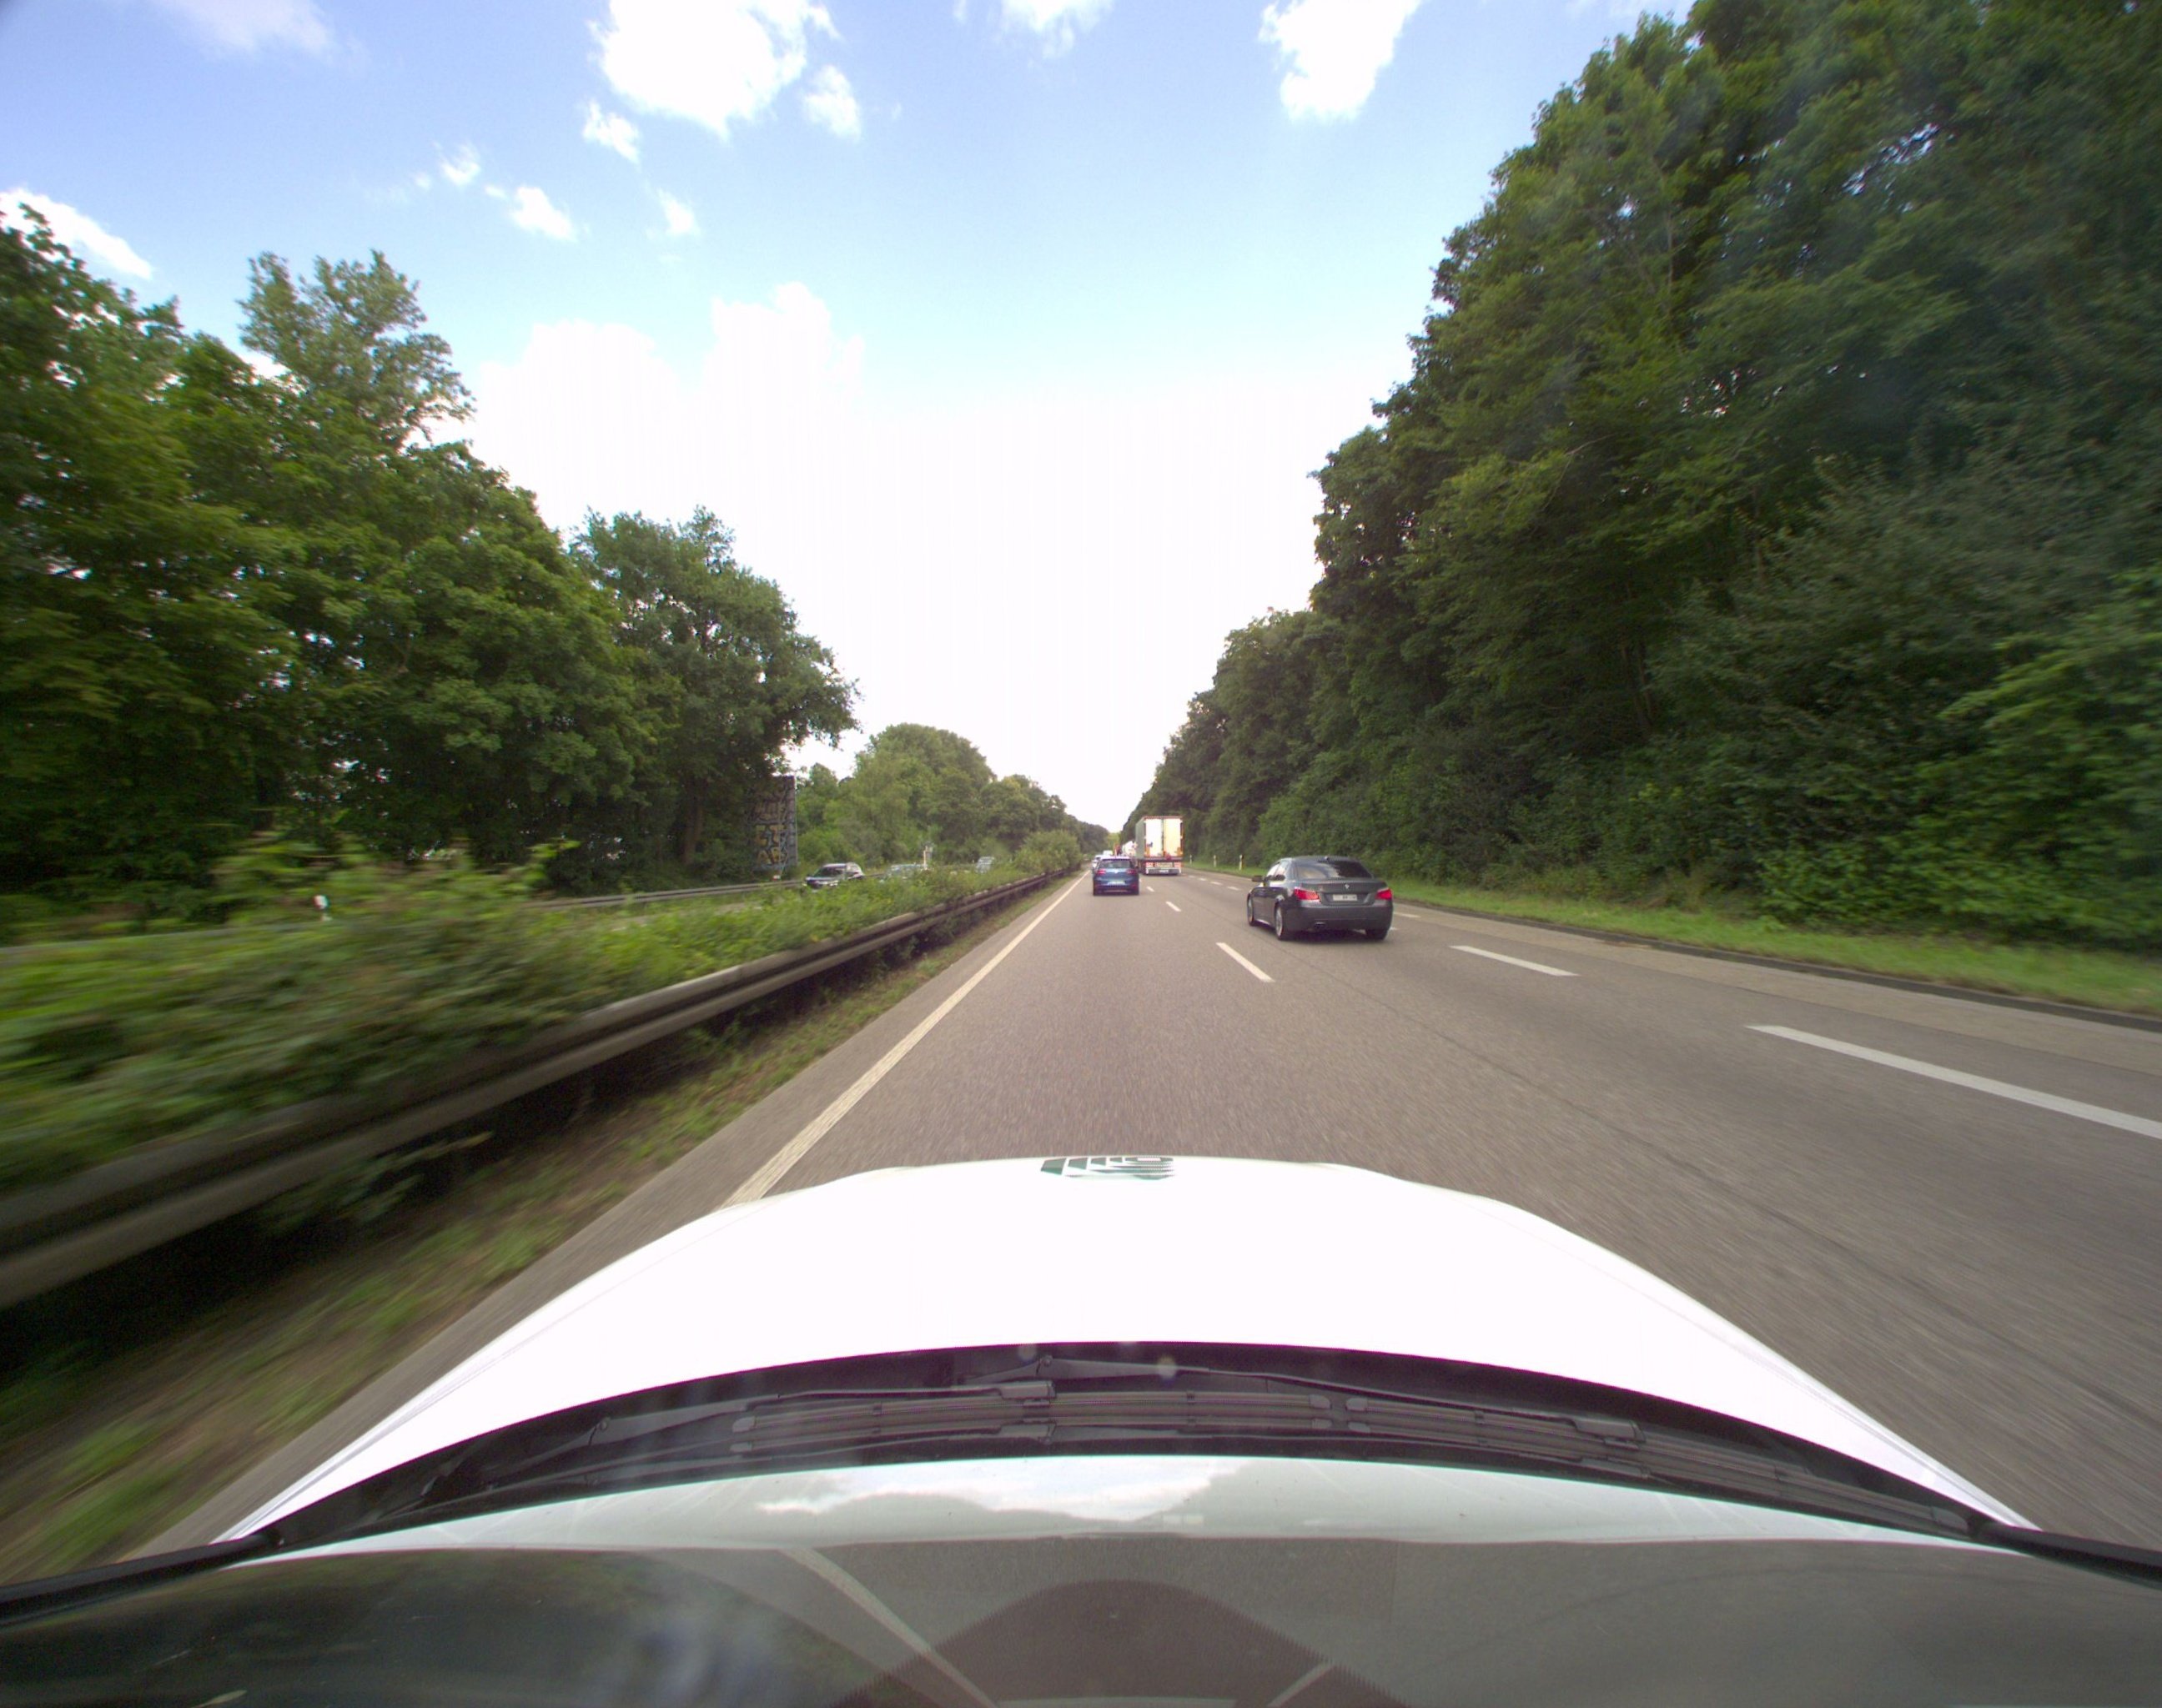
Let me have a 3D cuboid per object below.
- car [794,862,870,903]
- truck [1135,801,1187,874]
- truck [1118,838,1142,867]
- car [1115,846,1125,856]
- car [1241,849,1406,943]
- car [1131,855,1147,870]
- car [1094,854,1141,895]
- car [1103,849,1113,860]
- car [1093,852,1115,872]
[{"bbox_3d":[-10.956,1.216,36.125,1.821,1.661,4.597,0,0,2],"label":"car"},{"bbox_3d":[5.648,-1.133,59.197,3.228,4.716,11.017,-2,0,3],"label":"truck"},{"bbox_3d":[7.878,-0.150,129.164,3.216,4.386,12.988,-1,-1,5],"label":"truck"},{"bbox_3d":[9.134,-0.732,190.510,1.987,2.327,4.440,-2,0,-1],"label":"car"},{"bbox_3d":[4.300,0.668,15.304,1.768,1.475,4.882,0,0,1],"label":"car"},{"bbox_3d":[7.303,1.085,102.660,1.881,1.729,4.002,-2,0,2],"label":"car"},{"bbox_3d":[1.361,0.744,31.597,1.699,1.470,4.001,0,0,1],"label":"car"},{"bbox_3d":[5.784,0.130,174.677,1.987,2.255,4.440,-2,0,-1],"label":"car"},{"bbox_3d":[1.901,0.628,66.383,1.659,1.500,4.154,-1,0,2],"label":"car"}]
